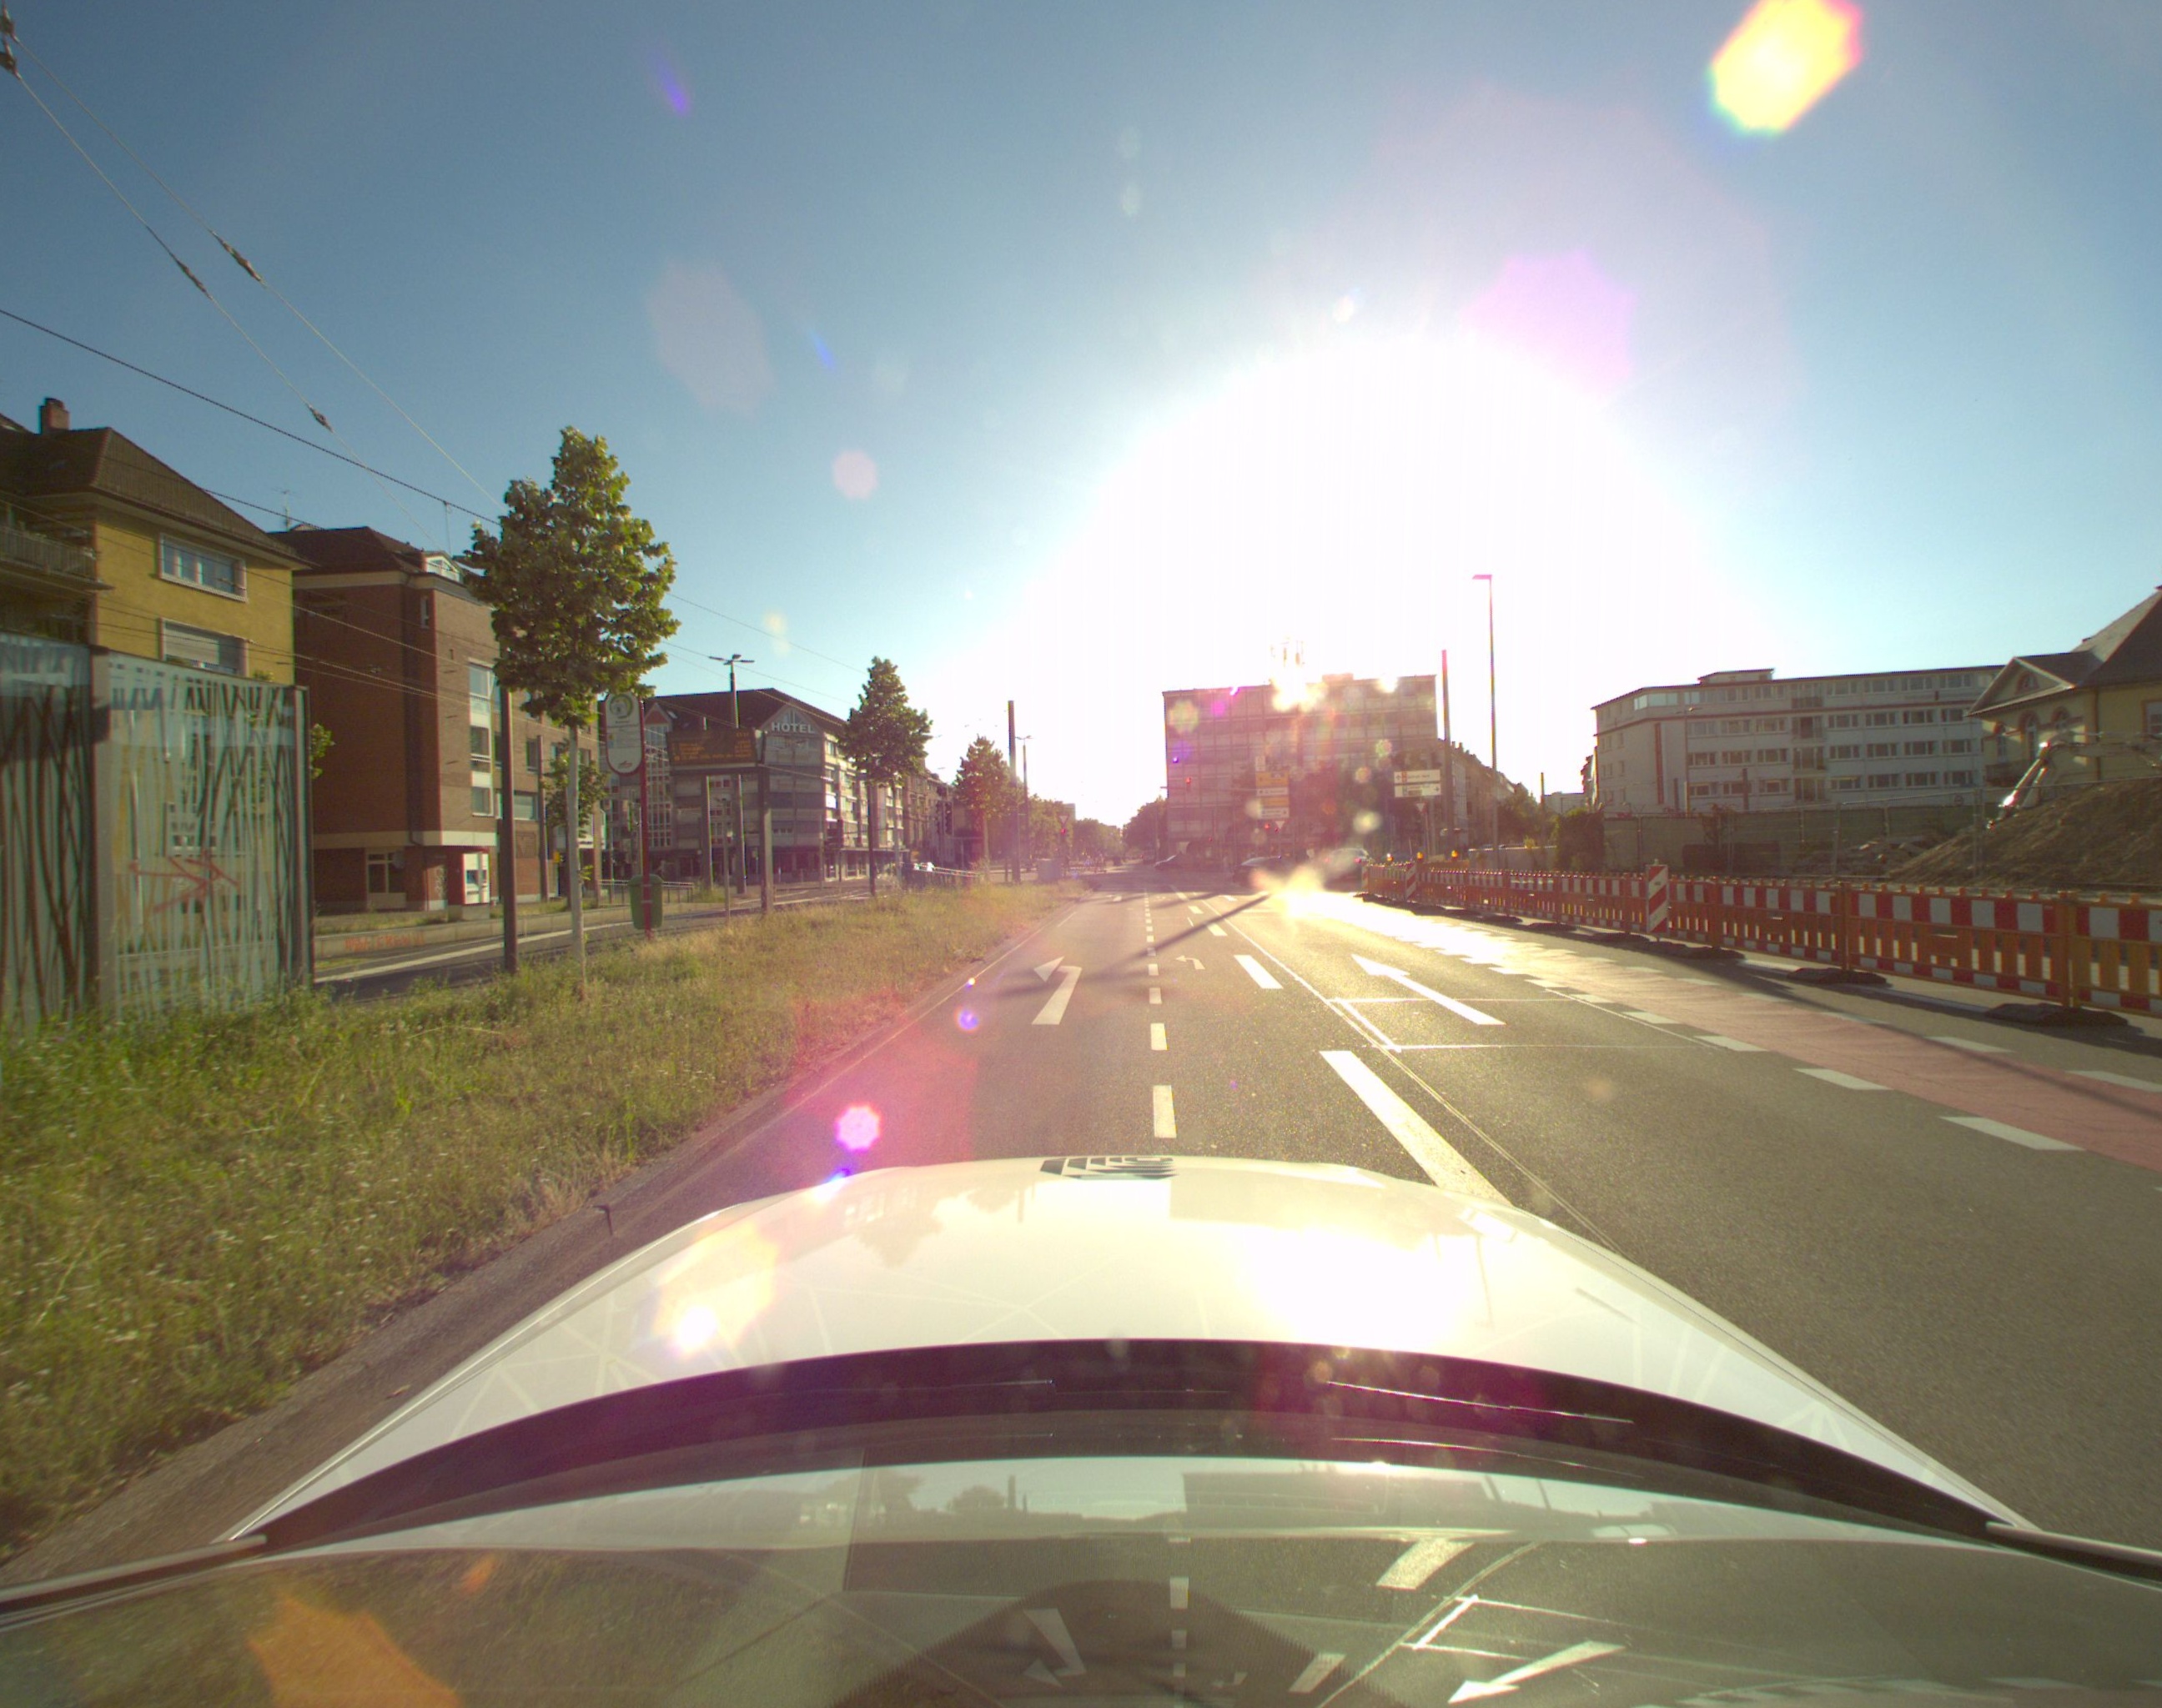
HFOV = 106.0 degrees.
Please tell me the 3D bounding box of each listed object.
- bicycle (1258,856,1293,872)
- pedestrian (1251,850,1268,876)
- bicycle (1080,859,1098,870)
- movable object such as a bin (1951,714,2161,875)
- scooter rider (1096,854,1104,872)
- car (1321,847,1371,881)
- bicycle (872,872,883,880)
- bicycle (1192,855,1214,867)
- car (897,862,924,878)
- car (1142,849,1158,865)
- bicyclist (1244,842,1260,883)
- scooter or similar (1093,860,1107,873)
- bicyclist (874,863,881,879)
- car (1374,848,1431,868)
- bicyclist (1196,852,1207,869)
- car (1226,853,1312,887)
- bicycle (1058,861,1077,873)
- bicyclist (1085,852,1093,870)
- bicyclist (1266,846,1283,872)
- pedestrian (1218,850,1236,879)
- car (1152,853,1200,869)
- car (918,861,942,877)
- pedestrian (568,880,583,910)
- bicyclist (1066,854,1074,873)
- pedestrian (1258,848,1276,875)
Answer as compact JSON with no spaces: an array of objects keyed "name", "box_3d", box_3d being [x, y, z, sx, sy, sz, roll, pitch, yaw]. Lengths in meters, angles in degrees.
[{"name":"bicycle","box_3d":[12.782,0.656,53.555,2.214,1.026,0.683,-2,-1,7]},{"name":"pedestrian","box_3d":[11.053,0.565,50.435,0.875,1.597,0.655,-2,0,1]},{"name":"bicycle","box_3d":[0.770,1.045,82.317,1.730,1.059,0.538,-2,-1,-6]},{"name":"movable object such as a bin","box_3d":[25.342,-1.390,19.143,6.003,3.557,2.879,-2,0,29]},{"name":"scooter rider","box_3d":[1.773,0.830,75.331,0.662,1.712,0.525,-2,-1,-6]},{"name":"car","box_3d":[14.138,0.488,43.283,1.975,1.693,4.024,0,1,26]},{"name":"bicycle","box_3d":[-23.588,2.539,94.491,0.595,0.915,1.839,-2,0,6]},{"name":"bicycle","box_3d":[12.344,0.692,82.483,2.087,1.137,0.658,-2,0,-1]},{"name":"car","box_3d":[-20.567,1.903,98.241,1.983,1.860,4.007,-2,0,6]},{"name":"car","box_3d":[11.710,0.541,139.385,2.475,2.392,5.940,-4,-1,3]},{"name":"bicyclist","box_3d":[8.668,0.410,41.304,0.640,2.013,1.068,0,1,5]},{"name":"scooter or similar","box_3d":[1.784,1.150,75.330,1.170,1.072,0.529,-2,-1,-6]},{"name":"bicyclist","box_3d":[-23.604,1.949,94.564,0.590,1.862,0.643,-2,-1,5]},{"name":"car","box_3d":[28.831,0.333,73.121,4.311,1.596,2.003,-2,0,5]},{"name":"bicyclist","box_3d":[12.205,0.646,82.478,0.896,1.753,0.654,-2,-1,-1]},{"name":"car","box_3d":[8.823,0.709,38.051,4.019,1.426,1.729,-1,0,-38]},{"name":"bicycle","box_3d":[-1.285,1.230,77.441,1.773,1.072,0.534,-2,-1,-6]},{"name":"bicyclist","box_3d":[0.778,0.708,82.323,0.662,1.712,0.537,-2,-1,-6]},{"name":"bicyclist","box_3d":[12.715,0.341,53.562,0.953,1.661,0.692,-2,-1,7]},{"name":"pedestrian","box_3d":[8.229,0.603,46.005,0.874,1.597,0.656,-2,0,3]},{"name":"car","box_3d":[8.629,0.651,74.098,3.987,1.288,1.841,-2,0,-10]},{"name":"car","box_3d":[-19.684,1.951,106.241,1.983,1.860,4.007,-2,0,6]},{"name":"pedestrian","box_3d":[-31.019,2.520,49.981,0.495,1.807,0.546,-3,-1,32]},{"name":"bicyclist","box_3d":[-1.039,0.893,77.355,0.662,1.712,0.537,-2,-1,-6]},{"name":"pedestrian","box_3d":[11.357,0.454,49.711,0.875,1.597,0.655,-2,0,1]}]
